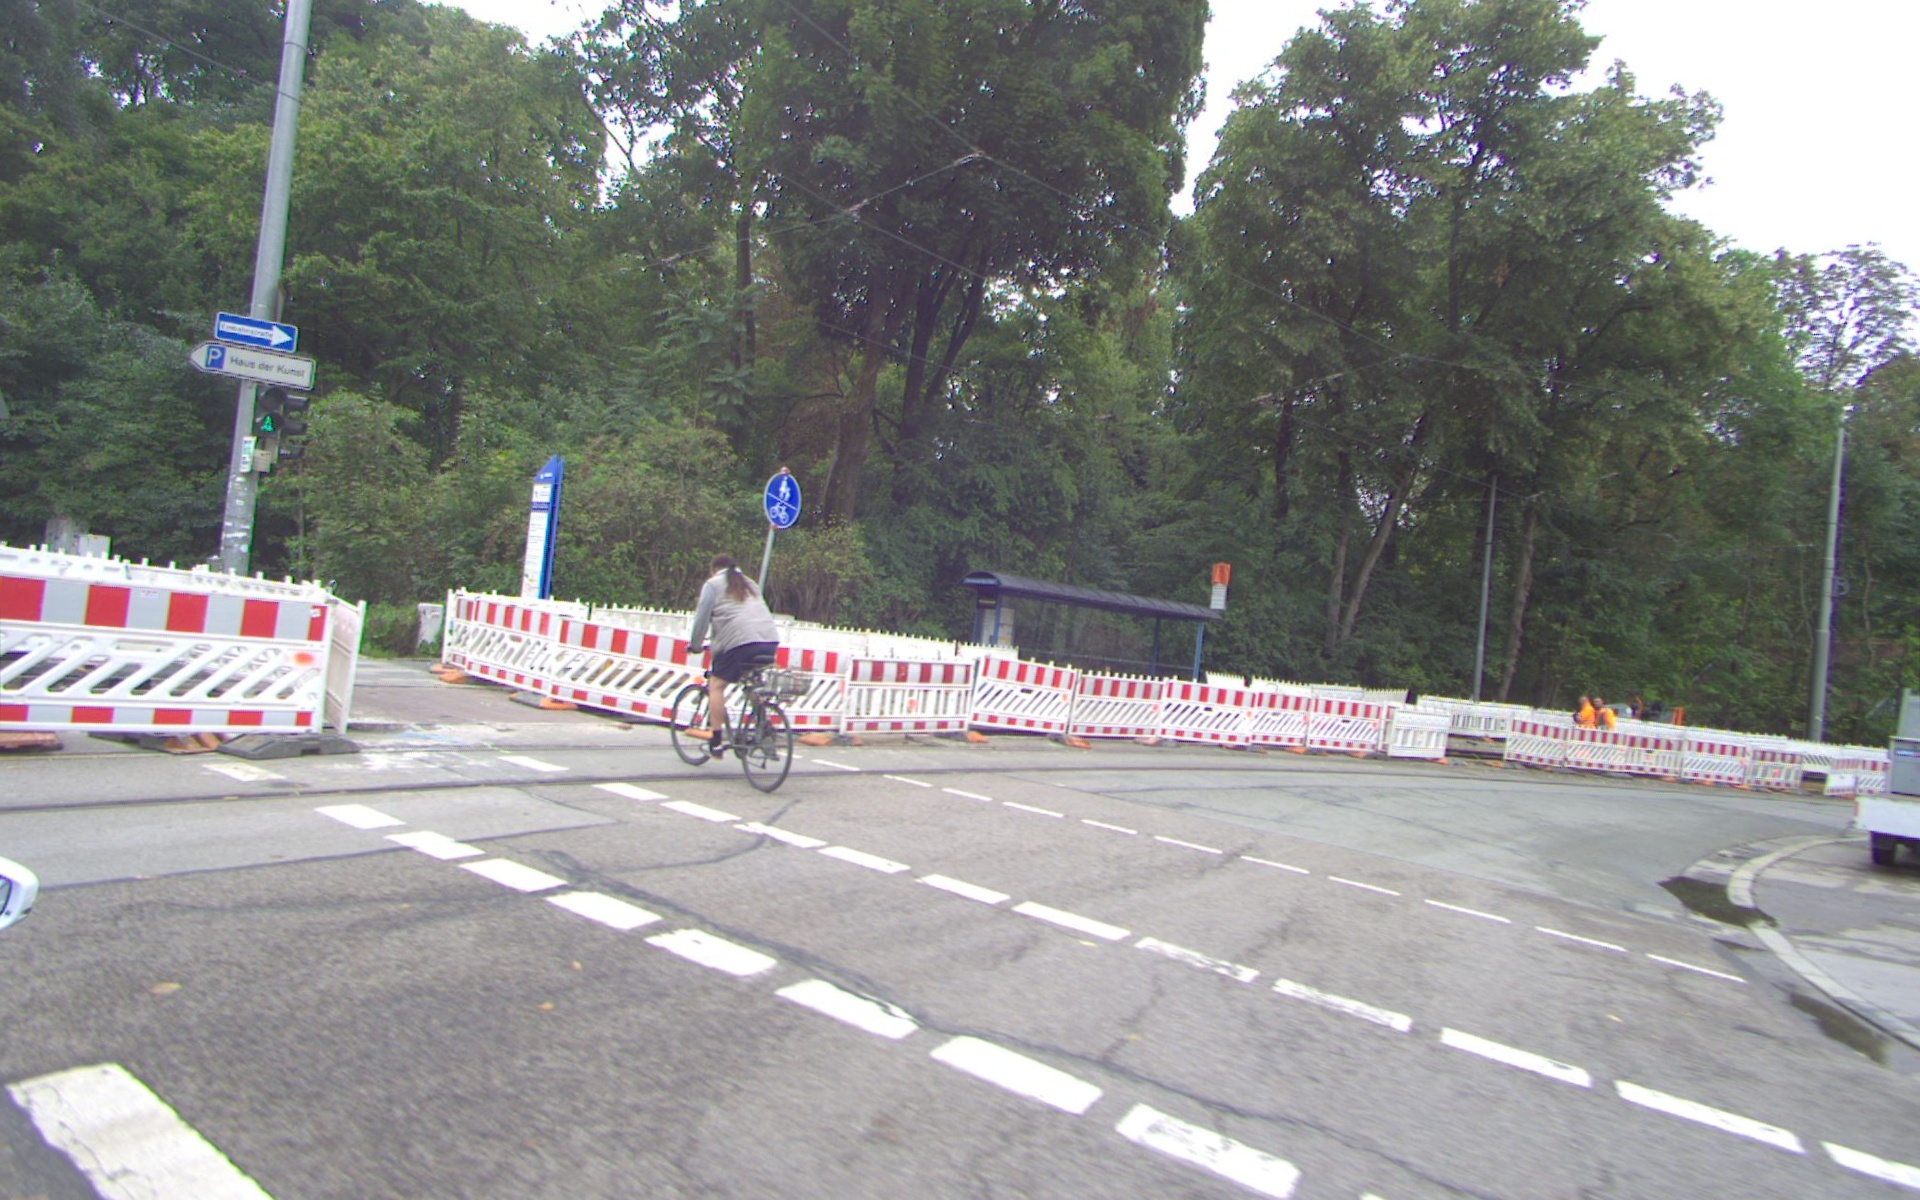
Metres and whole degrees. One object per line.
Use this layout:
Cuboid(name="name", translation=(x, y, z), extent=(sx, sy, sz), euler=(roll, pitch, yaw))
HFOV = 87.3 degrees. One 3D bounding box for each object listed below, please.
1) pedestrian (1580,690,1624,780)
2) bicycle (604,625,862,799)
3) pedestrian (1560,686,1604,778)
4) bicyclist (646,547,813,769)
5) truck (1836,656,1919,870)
Cuboid(name="pedestrian", translation=(16.073, 3.378, 25.176), extent=(0.683, 2.132, 0.558), euler=(9, -3, -37))
Cuboid(name="bicycle", translation=(-1.913, 0.881, 8.299), extent=(2.129, 1.069, 0.739), euler=(6, -2, 36))
Cuboid(name="pedestrian", translation=(15.111, 3.207, 24.435), extent=(0.683, 2.132, 0.557), euler=(9, -3, -39))
Cuboid(name="bicyclist", translation=(-1.904, 0.478, 8.339), extent=(0.885, 1.685, 0.757), euler=(5, -3, 35))
Cuboid(name="truck", translation=(14.075, 2.412, 13.828), extent=(5.901, 2.521, 2.269), euler=(10, -4, -42))
